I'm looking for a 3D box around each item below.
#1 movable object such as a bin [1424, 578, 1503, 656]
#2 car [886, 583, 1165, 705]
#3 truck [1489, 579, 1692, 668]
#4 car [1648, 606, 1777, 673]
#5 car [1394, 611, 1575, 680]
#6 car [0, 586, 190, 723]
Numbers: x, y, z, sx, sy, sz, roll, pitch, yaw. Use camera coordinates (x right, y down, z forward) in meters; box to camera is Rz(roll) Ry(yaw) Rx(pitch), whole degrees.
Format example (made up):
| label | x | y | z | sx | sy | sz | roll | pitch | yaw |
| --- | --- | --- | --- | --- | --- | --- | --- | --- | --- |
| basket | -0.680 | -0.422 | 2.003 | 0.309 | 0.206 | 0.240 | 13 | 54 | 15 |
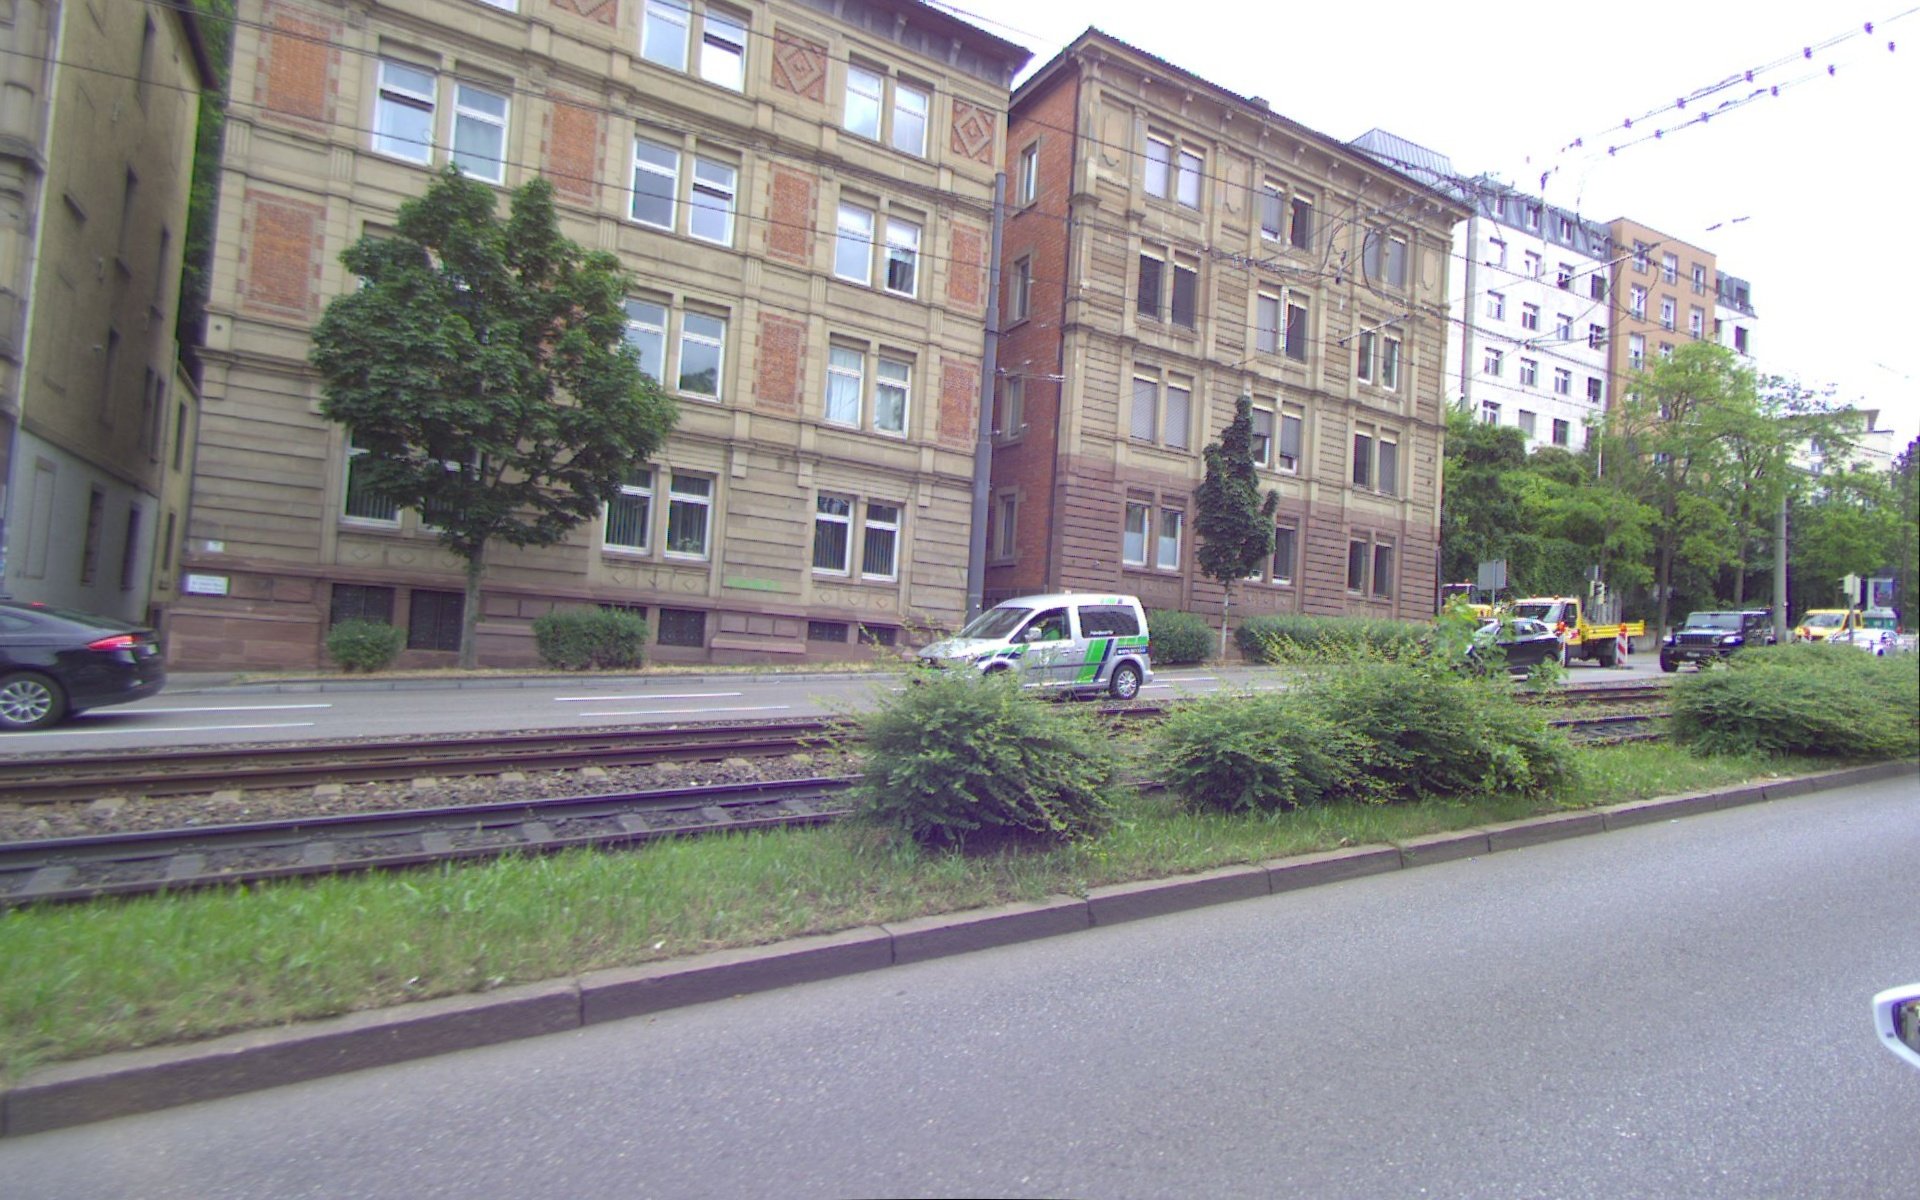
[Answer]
| label | x | y | z | sx | sy | sz | roll | pitch | yaw |
| --- | --- | --- | --- | --- | --- | --- | --- | --- | --- |
| movable object such as a bin | 19.241 | 0.677 | 38.377 | 2.010 | 2.875 | 1.980 | 2 | -1 | -36 |
| car | 1.151 | 0.739 | 16.916 | 4.466 | 1.811 | 1.869 | 2 | -3 | -32 |
| truck | 21.693 | 0.827 | 34.485 | 7.073 | 2.543 | 2.902 | 4 | 0 | -31 |
| car | 23.629 | 1.231 | 31.494 | 4.596 | 1.901 | 1.887 | 2 | 0 | -35 |
| car | 13.124 | 1.145 | 25.097 | 4.383 | 1.575 | 1.857 | 2 | -1 | -28 |
| car | -11.666 | 0.574 | 11.028 | 4.889 | 1.469 | 1.810 | 1 | -1 | -31 |
